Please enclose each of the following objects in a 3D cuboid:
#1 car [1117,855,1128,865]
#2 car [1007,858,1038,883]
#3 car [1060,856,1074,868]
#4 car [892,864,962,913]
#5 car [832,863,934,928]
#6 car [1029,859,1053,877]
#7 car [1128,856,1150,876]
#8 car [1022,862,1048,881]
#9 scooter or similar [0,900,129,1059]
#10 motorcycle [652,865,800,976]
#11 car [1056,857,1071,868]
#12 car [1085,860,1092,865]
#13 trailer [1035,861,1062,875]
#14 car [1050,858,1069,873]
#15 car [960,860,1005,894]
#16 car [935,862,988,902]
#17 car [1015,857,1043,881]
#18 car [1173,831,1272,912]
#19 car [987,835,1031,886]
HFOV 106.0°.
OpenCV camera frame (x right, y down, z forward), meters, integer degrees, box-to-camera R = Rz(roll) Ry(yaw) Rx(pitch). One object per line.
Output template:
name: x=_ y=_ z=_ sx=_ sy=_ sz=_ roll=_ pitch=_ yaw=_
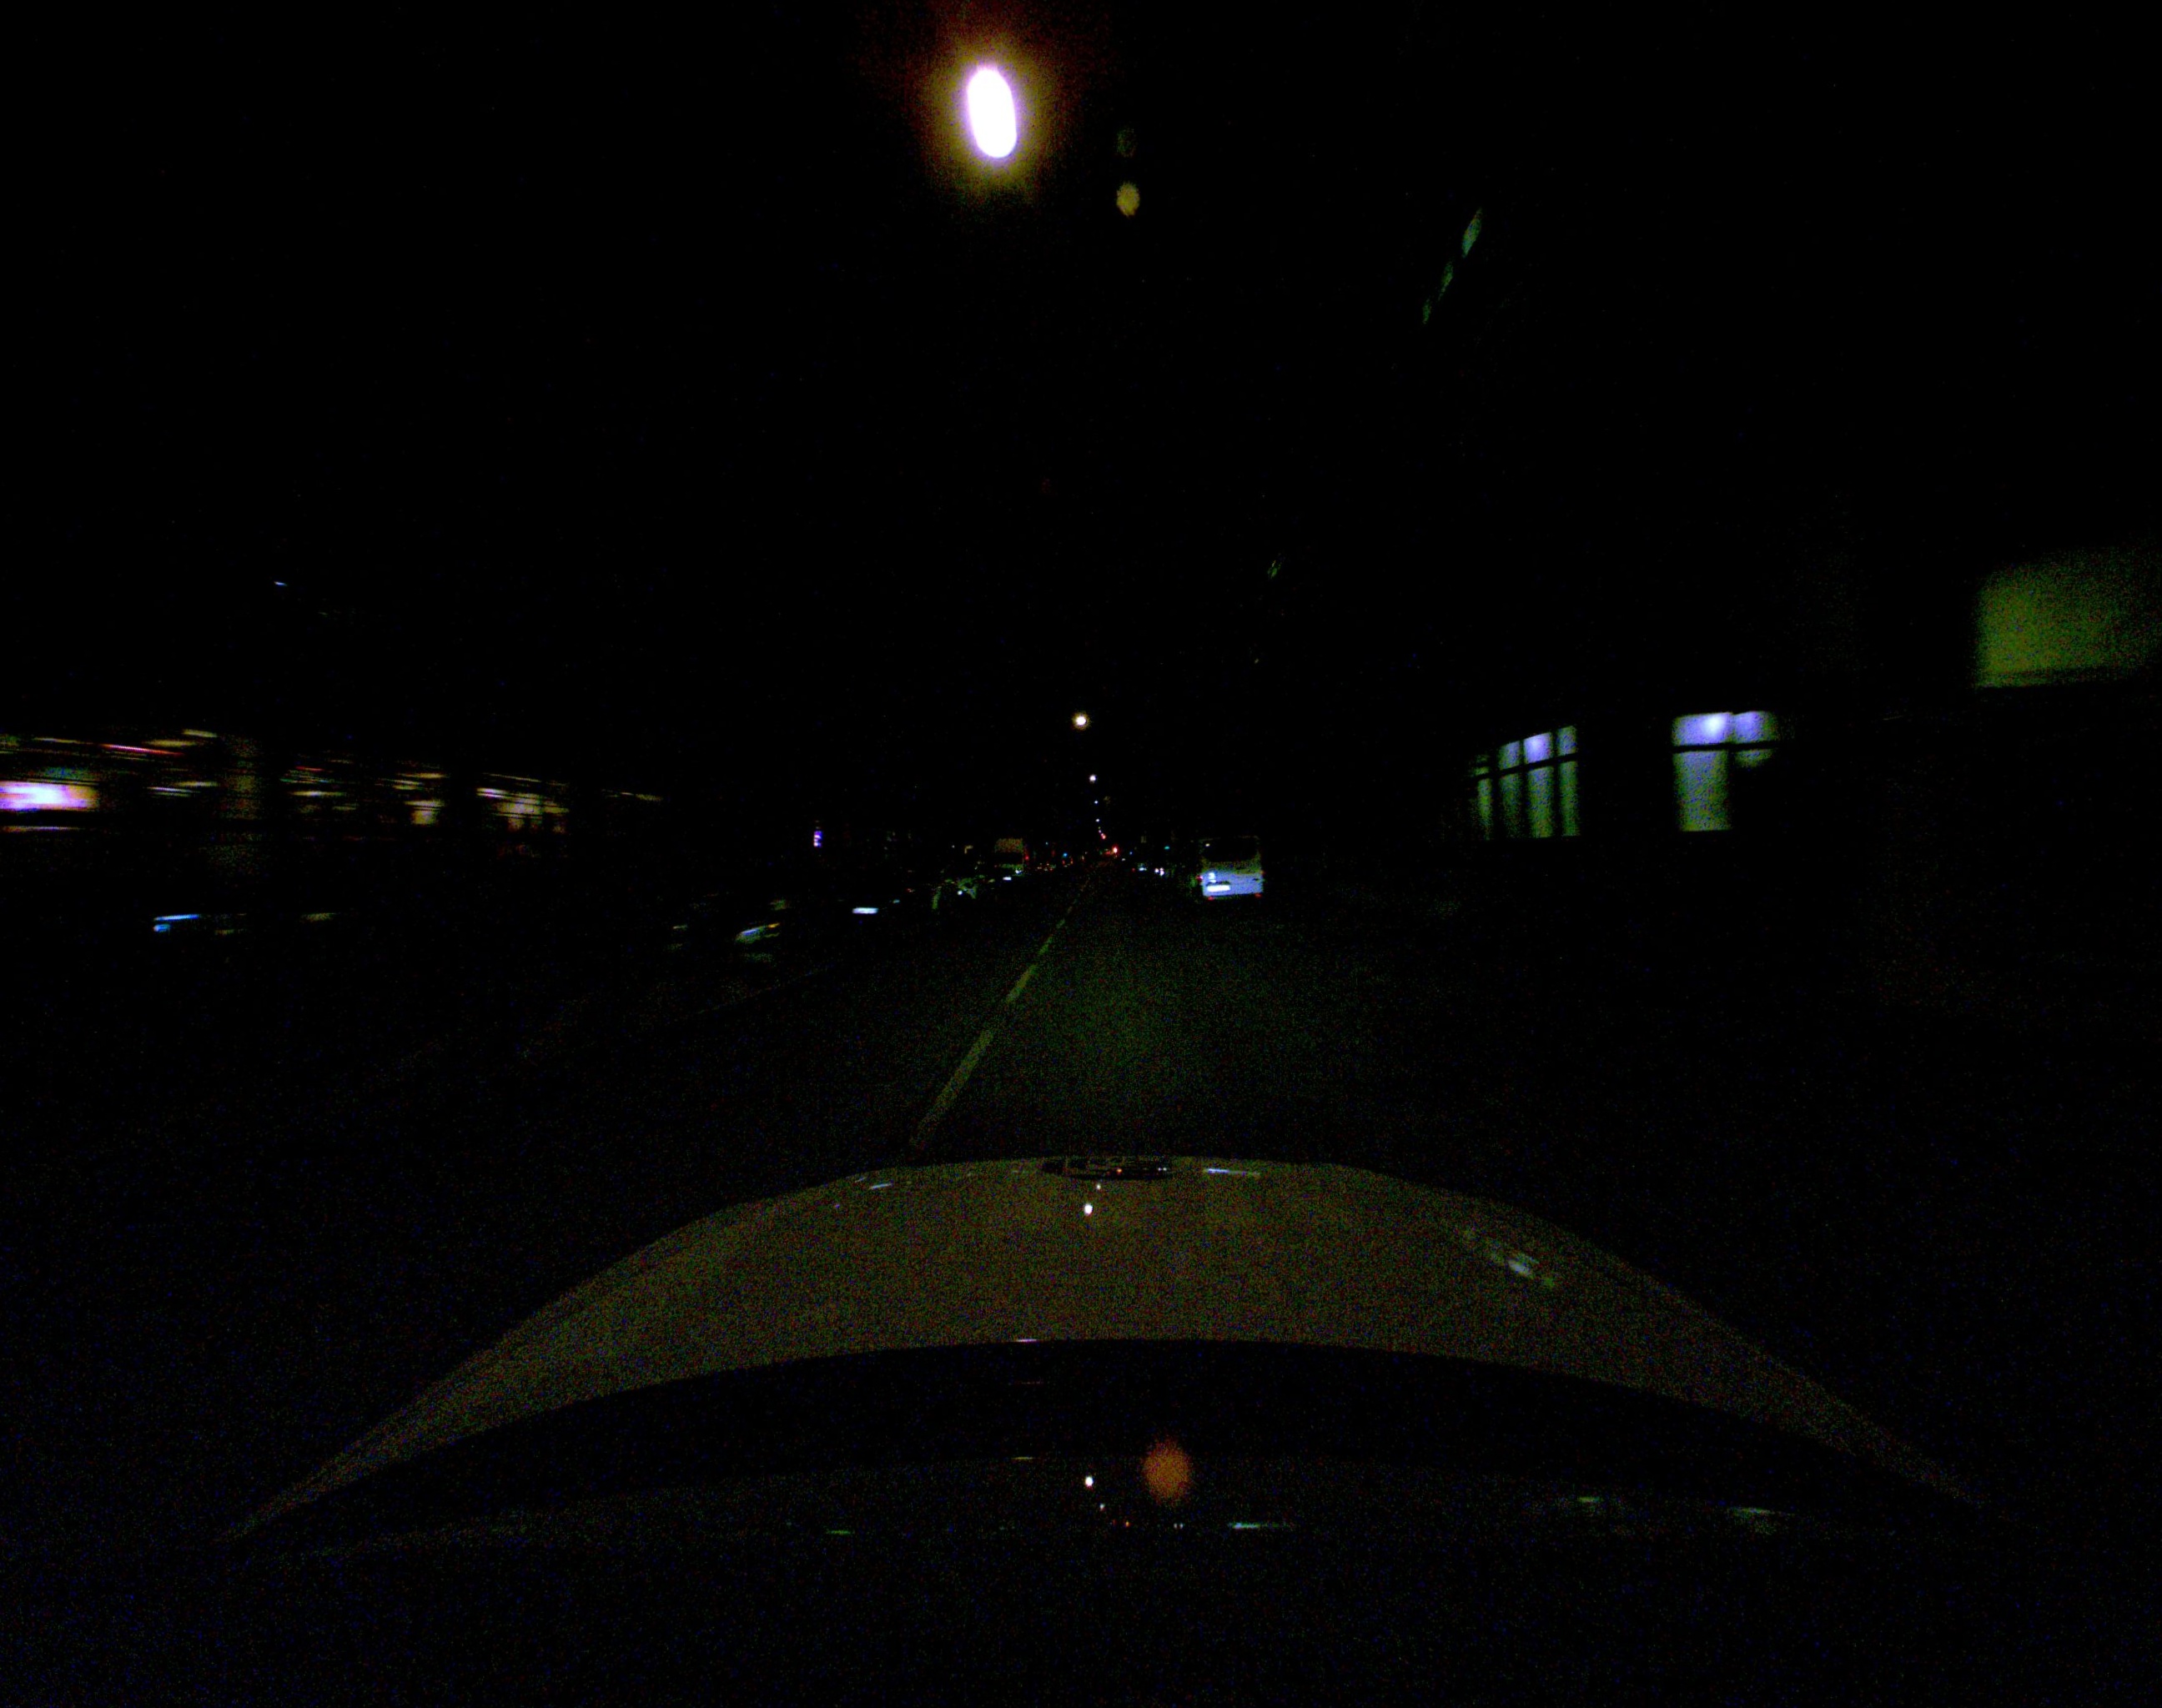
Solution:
car: x=6.915 y=0.965 z=135.975 sx=1.846 sy=1.654 sz=4.211 roll=-1 pitch=0 yaw=2
car: x=-3.888 y=1.098 z=54.784 sx=1.736 sy=1.606 sz=4.115 roll=0 pitch=0 yaw=0
car: x=-2.081 y=1.222 z=122.985 sx=1.815 sy=1.811 sz=4.213 roll=2 pitch=0 yaw=3
car: x=-4.902 y=1.050 z=26.314 sx=1.439 sy=1.429 sz=3.904 roll=1 pitch=-1 yaw=1
car: x=-5.055 y=1.008 z=21.286 sx=1.637 sy=1.504 sz=3.904 roll=1 pitch=-1 yaw=1
car: x=-3.445 y=1.209 z=70.746 sx=1.710 sy=1.502 sz=4.206 roll=1 pitch=-1 yaw=1
car: x=4.647 y=0.963 z=65.384 sx=1.661 sy=1.429 sz=4.152 roll=-4 pitch=-1 yaw=4
car: x=-3.645 y=1.382 z=65.534 sx=1.698 sy=1.411 sz=4.634 roll=-1 pitch=0 yaw=1
scooter or similar: x=-8.624 y=1.007 z=6.491 sx=0.365 sy=1.204 sz=1.428 roll=-2 pitch=-1 yaw=2
motorcycle: x=-5.146 y=0.935 z=11.934 sx=1.907 sy=1.550 sz=0.635 roll=1 pitch=-1 yaw=-18
car: x=-2.477 y=1.203 z=115.574 sx=1.693 sy=1.433 sz=3.831 roll=2 pitch=0 yaw=3
car: x=2.228 y=2.568 z=243.344 sx=1.734 sy=1.416 sz=3.754 roll=-1 pitch=-1 yaw=2
trailer: x=-3.119 y=1.341 z=78.653 sx=2.102 sy=1.335 sz=5.438 roll=1 pitch=-1 yaw=3
car: x=-2.421 y=1.327 z=93.769 sx=1.815 sy=1.599 sz=4.075 roll=2 pitch=0 yaw=3
car: x=-4.592 y=1.060 z=38.432 sx=1.640 sy=1.505 sz=3.861 roll=0 pitch=0 yaw=0
car: x=-4.665 y=1.069 z=32.261 sx=1.542 sy=1.455 sz=3.368 roll=0 pitch=0 yaw=1
car: x=-3.838 y=1.094 z=60.374 sx=1.736 sy=1.606 sz=4.297 roll=-1 pitch=-1 yaw=0
car: x=3.876 y=0.474 z=23.128 sx=1.944 sy=1.964 sz=4.603 roll=-3 pitch=0 yaw=0
car: x=-4.267 y=0.380 z=49.112 sx=2.171 sy=2.909 sz=4.910 roll=0 pitch=-1 yaw=1
